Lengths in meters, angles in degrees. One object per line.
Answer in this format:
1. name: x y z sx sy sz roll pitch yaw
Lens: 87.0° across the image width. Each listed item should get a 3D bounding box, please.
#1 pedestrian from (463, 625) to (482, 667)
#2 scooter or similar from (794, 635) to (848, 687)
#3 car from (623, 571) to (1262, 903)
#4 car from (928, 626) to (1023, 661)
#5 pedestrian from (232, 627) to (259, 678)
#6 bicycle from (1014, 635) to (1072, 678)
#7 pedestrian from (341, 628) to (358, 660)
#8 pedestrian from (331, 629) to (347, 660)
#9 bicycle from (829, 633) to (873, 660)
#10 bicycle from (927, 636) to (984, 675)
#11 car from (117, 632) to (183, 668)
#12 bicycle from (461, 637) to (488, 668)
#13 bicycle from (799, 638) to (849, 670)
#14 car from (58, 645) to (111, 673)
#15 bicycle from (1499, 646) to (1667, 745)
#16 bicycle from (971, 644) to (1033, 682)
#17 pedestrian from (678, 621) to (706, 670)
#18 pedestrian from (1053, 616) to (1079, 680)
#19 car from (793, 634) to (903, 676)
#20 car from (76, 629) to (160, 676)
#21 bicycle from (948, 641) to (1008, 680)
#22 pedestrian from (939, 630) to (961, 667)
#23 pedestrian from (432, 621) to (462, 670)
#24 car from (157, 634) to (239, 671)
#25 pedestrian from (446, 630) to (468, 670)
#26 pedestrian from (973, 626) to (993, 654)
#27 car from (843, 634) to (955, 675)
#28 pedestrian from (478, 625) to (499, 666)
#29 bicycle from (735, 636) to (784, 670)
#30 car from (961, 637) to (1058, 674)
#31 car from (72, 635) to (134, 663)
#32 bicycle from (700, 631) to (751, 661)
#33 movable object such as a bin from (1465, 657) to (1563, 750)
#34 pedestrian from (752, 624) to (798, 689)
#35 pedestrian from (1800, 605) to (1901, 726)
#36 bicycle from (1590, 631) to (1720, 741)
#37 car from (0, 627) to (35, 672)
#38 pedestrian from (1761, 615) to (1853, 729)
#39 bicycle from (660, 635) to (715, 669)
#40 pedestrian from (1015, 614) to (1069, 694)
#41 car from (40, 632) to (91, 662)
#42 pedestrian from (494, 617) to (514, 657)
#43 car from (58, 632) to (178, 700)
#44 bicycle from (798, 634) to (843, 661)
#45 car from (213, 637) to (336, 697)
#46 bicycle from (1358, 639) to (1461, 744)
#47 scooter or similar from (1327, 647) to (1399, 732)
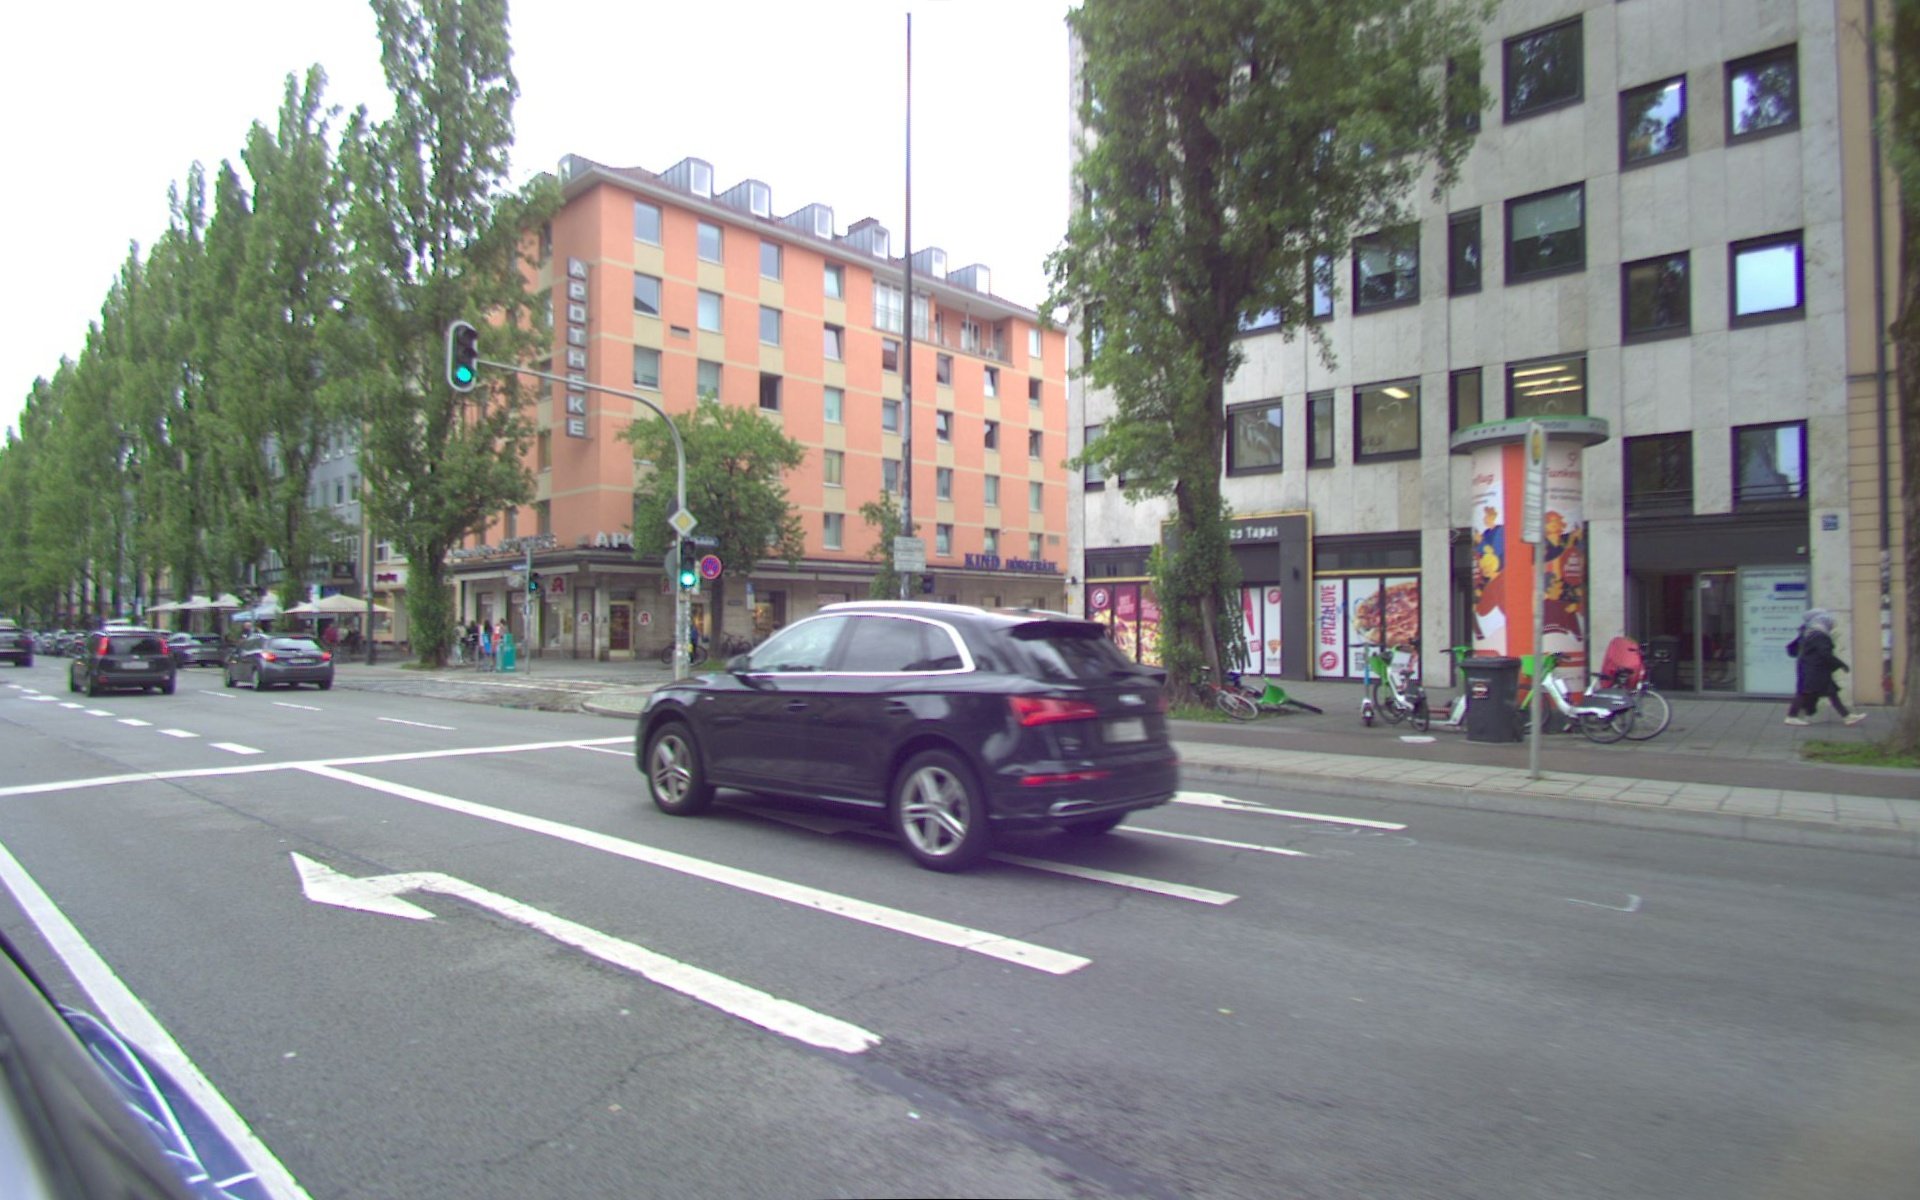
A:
1. pedestrian: -20.064 1.884 41.643 0.626 1.683 0.502 -2 -2 42
2. scooter or similar: -3.699 1.605 26.984 1.342 1.349 0.439 1 -2 -29
3. car: -0.361 0.797 7.413 4.583 1.693 1.893 -2 -4 41
4. car: 0.705 1.892 44.576 3.886 1.431 1.894 1 -2 -41
5. pedestrian: -26.164 1.901 37.091 0.725 1.809 0.995 -1 -1 -31
6. bicycle: 2.566 1.718 31.120 0.558 1.259 2.108 -2 -3 44
7. pedestrian: -33.111 2.398 54.880 0.691 1.731 0.549 -2 -2 40
8. pedestrian: -33.331 2.395 54.314 0.691 1.651 0.549 -2 -2 40
9. bicycle: -5.019 2.148 46.697 0.690 1.193 2.034 -2 -2 43
10. bicycle: -0.153 1.711 31.379 1.849 1.193 0.411 -2 -2 35
11. car: -38.099 2.341 47.580 4.094 1.595 1.685 -1 -3 41
12. bicycle: -18.242 1.973 38.009 1.373 1.150 0.416 -2 -2 42
13. bicycle: -5.494 2.162 40.981 2.031 1.193 0.538 -1 -1 -42
14. car: -49.815 3.343 57.559 4.368 1.478 1.659 -1 -3 41
15. bicycle: 7.837 1.162 12.828 0.499 1.096 1.815 -1 0 -26
16. bicycle: 1.345 2.028 32.669 1.995 1.193 0.413 -1 -2 22
17. pedestrian: -9.907 1.664 37.395 0.692 1.780 0.770 -2 -2 41
18. pedestrian: 3.062 1.373 29.224 0.693 1.801 0.818 -1 -2 10
19. car: -4.342 2.101 39.402 3.937 1.431 1.784 -1 0 -41
20. car: -33.146 2.018 39.796 4.633 1.729 1.818 -2 -3 41
21. bicycle: 0.553 1.899 31.978 2.027 1.193 0.411 -2 -2 35
22. pedestrian: -0.493 2.363 49.638 0.780 1.780 0.656 -1 -1 40
23. pedestrian: -18.896 1.670 37.275 0.778 1.784 0.716 -2 -2 42
24. car: -32.011 2.181 42.455 4.586 1.449 1.686 -1 -3 39
25. pedestrian: -20.353 2.031 40.943 0.548 1.595 0.649 -2 -2 42
26. pedestrian: 1.166 2.028 51.655 0.780 1.401 0.656 -1 -1 40
27. car: -2.241 1.991 37.882 3.937 1.431 1.784 1 -2 -41
28. pedestrian: -19.717 1.907 42.351 0.519 1.701 0.623 -1 -1 42
29. bicycle: -7.259 1.898 36.554 2.058 1.193 0.411 -2 -2 35
30. car: 2.081 2.258 42.104 3.937 1.431 1.745 1 -2 -41
31. car: -45.539 2.591 53.749 4.429 1.423 1.686 -2 -2 39
32. bicycle: -9.672 1.883 41.829 0.690 1.193 2.034 -2 -2 43
33. movable object such as a bin: 6.718 1.243 12.312 0.847 1.049 0.722 -1 0 12
34. pedestrian: -4.740 1.426 25.912 0.934 1.631 0.770 -2 -2 40
35. pedestrian: 12.270 0.870 13.956 0.989 1.579 0.742 -1 -1 43
36. bicycle: 8.995 1.069 13.191 0.579 1.311 1.949 -1 -2 9
37. car: -39.713 2.022 41.710 4.437 1.759 1.864 -2 -2 42
38. pedestrian: 12.414 1.025 14.837 0.989 1.579 0.742 -1 -1 43
39. bicycle: -10.262 1.936 38.175 2.031 1.193 0.417 -1 -1 -42
40. pedestrian: 1.855 1.204 22.846 0.941 1.753 0.719 -1 -1 40
41. car: -54.412 2.839 61.536 4.585 1.693 1.761 -1 -3 42
42. pedestrian: -19.373 1.579 42.990 0.513 1.704 0.580 -2 -3 41
43. car: -20.146 1.522 24.177 3.692 1.507 1.545 -2 -3 40
44. bicycle: -6.256 2.120 45.435 0.690 1.193 2.034 -2 -2 43
45. car: -18.030 1.699 26.560 3.994 1.450 1.625 -2 -3 40
46. bicycle: 6.264 1.233 14.211 0.501 1.299 1.955 -1 0 -2
47. scooter or similar: 5.738 1.251 14.484 0.384 1.122 1.562 0 -2 0
